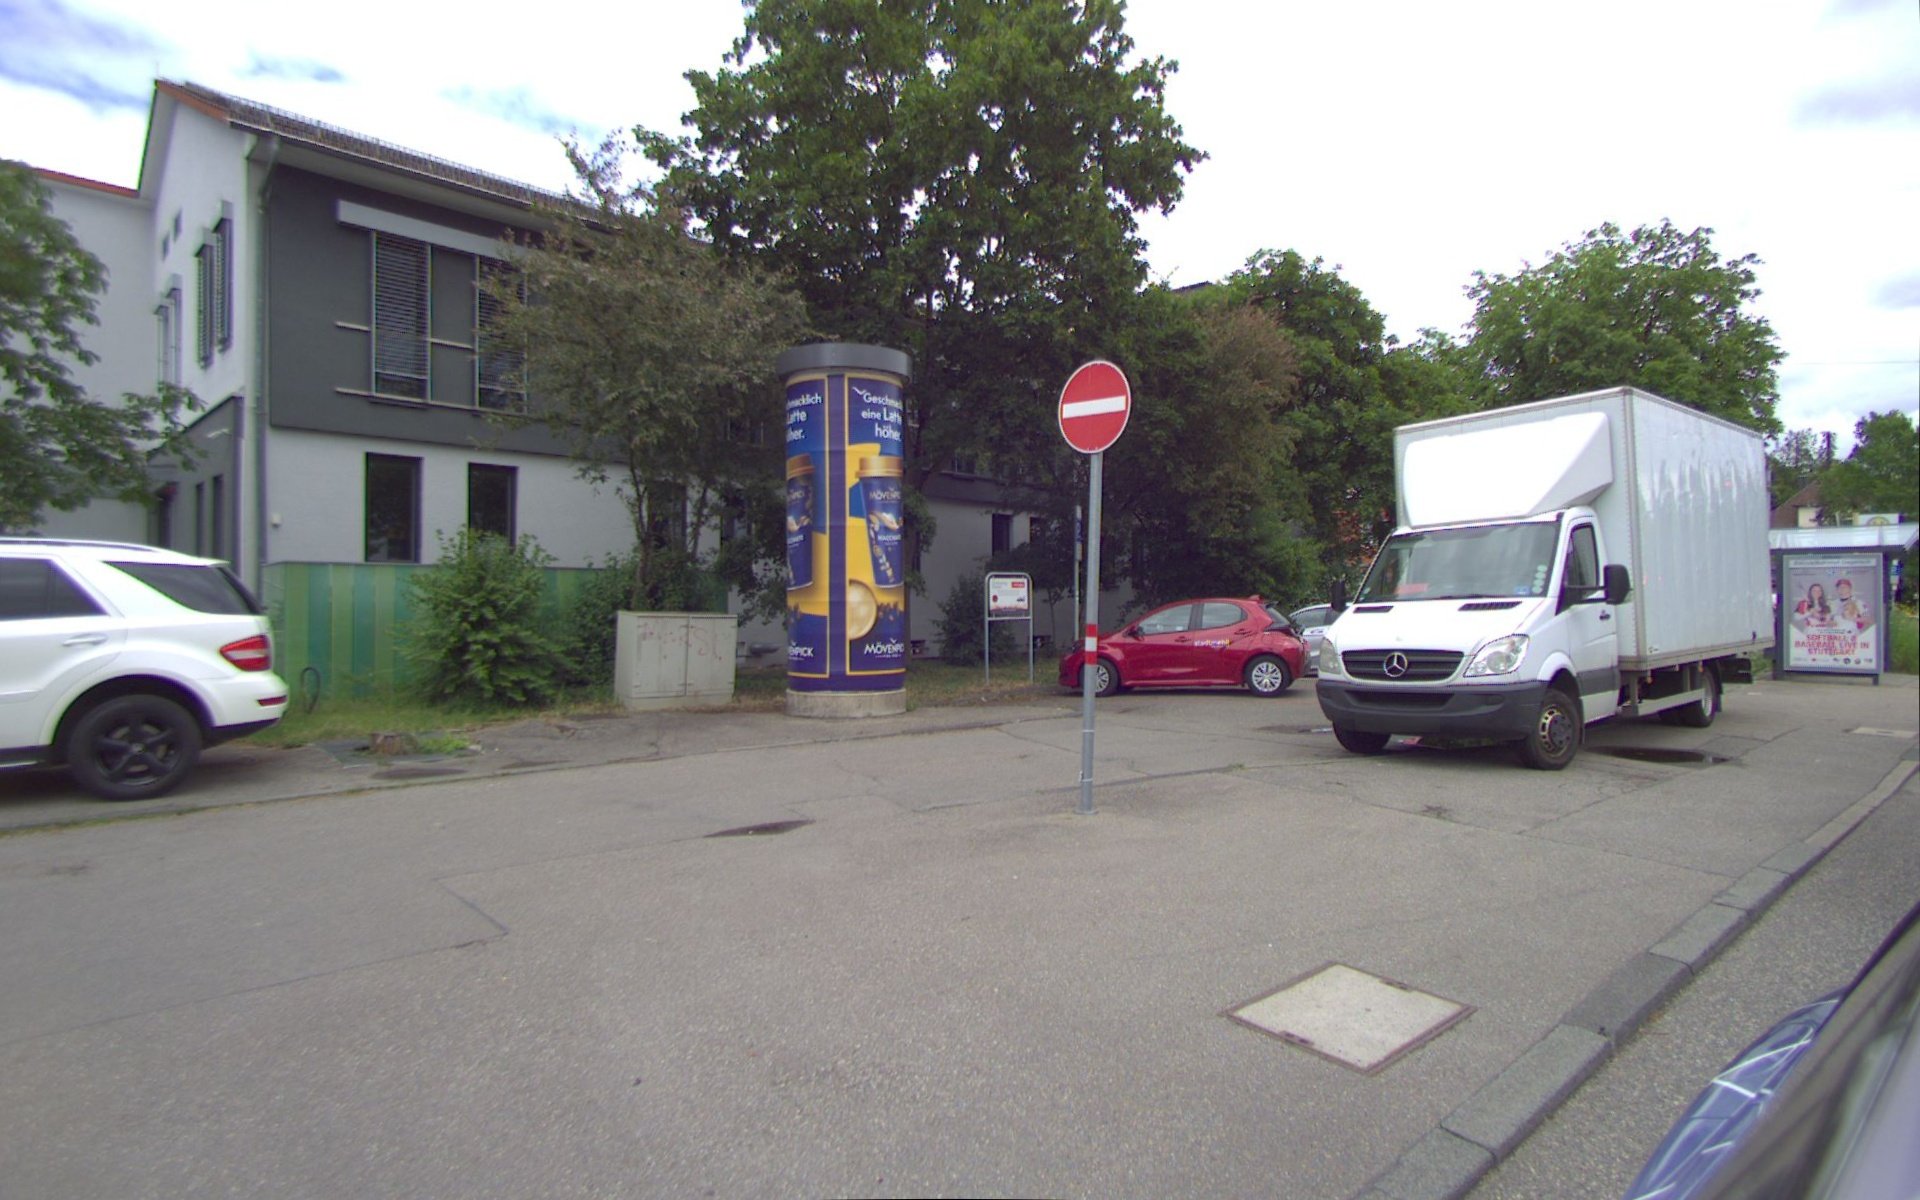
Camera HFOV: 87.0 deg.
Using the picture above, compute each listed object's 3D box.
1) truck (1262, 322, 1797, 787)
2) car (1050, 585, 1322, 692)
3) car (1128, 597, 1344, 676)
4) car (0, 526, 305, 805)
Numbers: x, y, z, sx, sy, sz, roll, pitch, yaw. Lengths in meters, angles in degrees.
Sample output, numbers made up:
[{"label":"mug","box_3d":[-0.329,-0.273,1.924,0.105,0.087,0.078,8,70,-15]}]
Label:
[{"label":"truck","box_3d":[6.576,-0.397,10.996,7.638,3.469,2.540,-1,0,-40]},{"label":"car","box_3d":[3.516,0.612,15.798,3.856,1.502,1.669,-2,-1,25]},{"label":"car","box_3d":[5.430,0.713,20.090,3.946,1.428,1.516,-2,-1,18]},{"label":"car","box_3d":[-7.229,0.418,6.722,4.640,1.780,1.855,0,0,-41]}]
